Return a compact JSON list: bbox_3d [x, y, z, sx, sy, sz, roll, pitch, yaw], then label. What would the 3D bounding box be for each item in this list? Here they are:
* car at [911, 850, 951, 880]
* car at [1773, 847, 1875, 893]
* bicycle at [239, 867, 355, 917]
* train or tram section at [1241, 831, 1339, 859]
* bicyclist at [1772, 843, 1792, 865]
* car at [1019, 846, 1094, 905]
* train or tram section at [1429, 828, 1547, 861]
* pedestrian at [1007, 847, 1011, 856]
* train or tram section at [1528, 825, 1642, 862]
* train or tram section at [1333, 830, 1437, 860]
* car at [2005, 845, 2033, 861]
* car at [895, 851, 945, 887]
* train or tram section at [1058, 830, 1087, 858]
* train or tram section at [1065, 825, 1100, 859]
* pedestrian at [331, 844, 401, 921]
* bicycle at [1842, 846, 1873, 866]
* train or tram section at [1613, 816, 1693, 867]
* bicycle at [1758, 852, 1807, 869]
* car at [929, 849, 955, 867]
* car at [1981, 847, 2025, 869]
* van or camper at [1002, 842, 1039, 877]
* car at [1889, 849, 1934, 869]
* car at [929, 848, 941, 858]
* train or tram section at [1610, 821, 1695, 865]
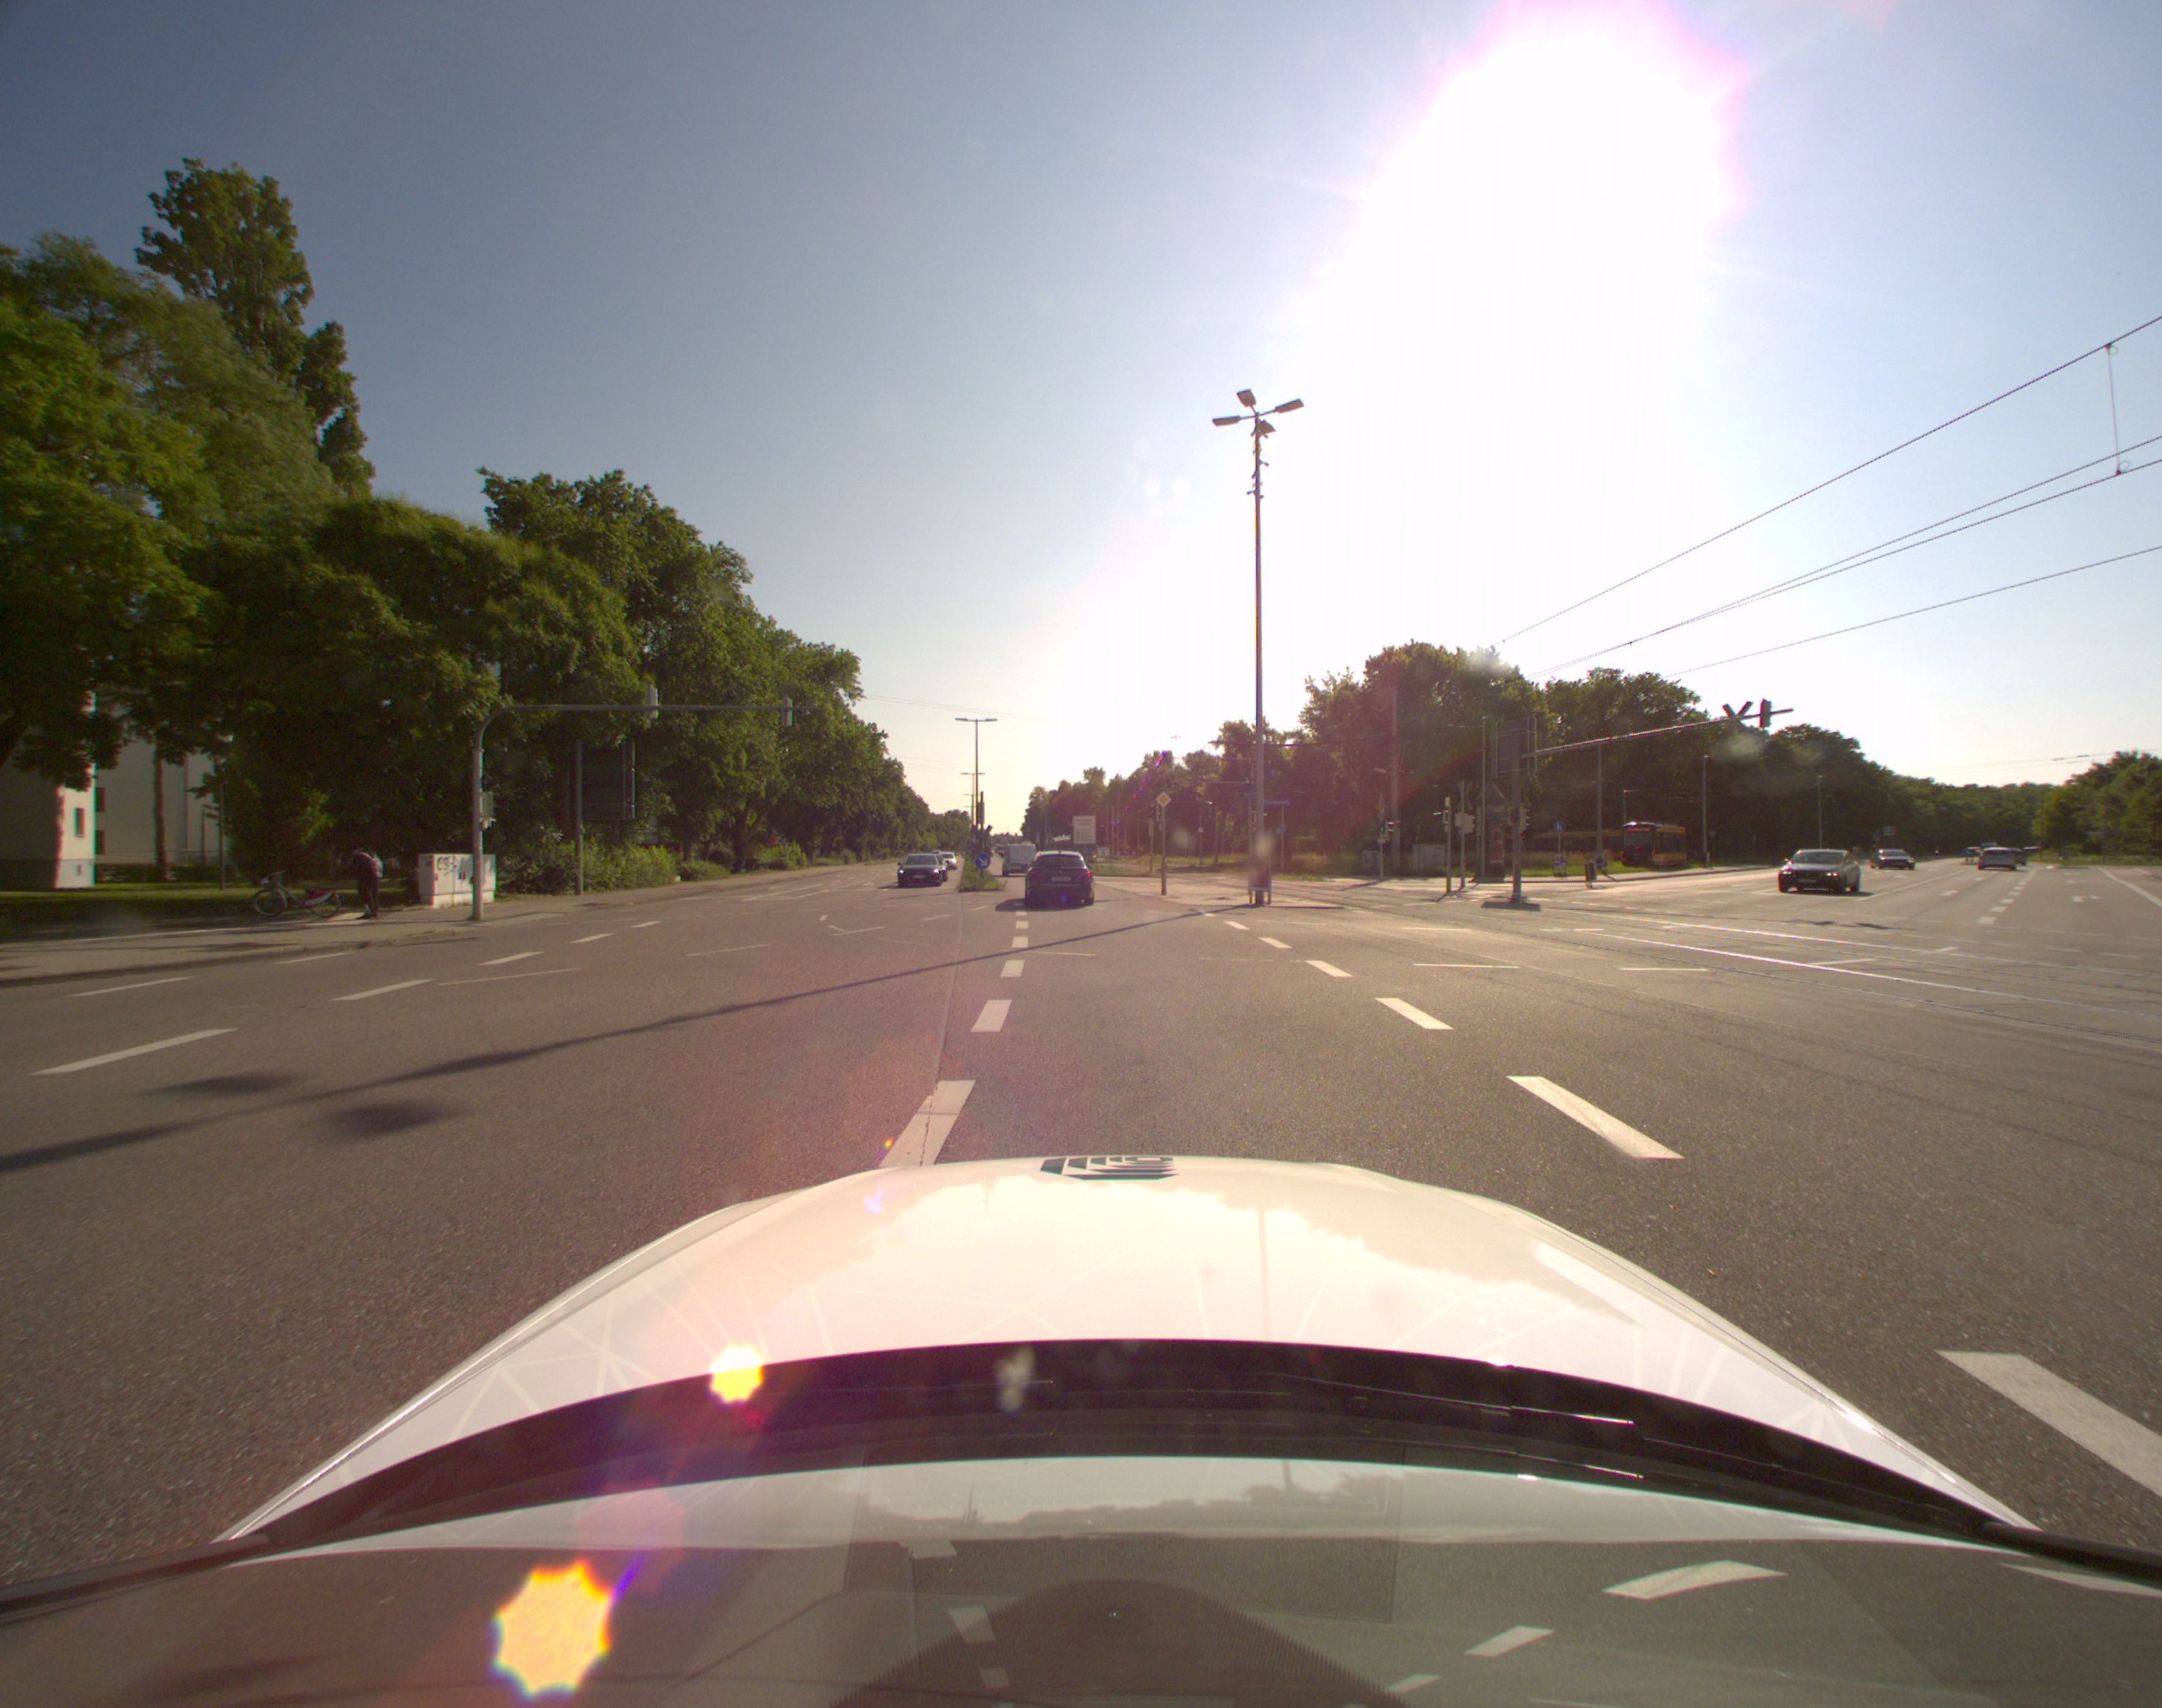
[{"bbox_3d":[-7.713,0.538,42.192,1.828,1.435,4.368,-1,1,-9],"label":"car"},{"bbox_3d":[28.261,0.537,30.940,4.885,1.562,2.022,-1,1,-37],"label":"car"},{"bbox_3d":[-18.271,0.866,19.012,1.909,1.119,0.630,0,0,-10],"label":"bicycle"},{"bbox_3d":[27.628,-1.124,108.008,12.292,3.579,3.070,0,0,21],"label":"train or tram section"},{"bbox_3d":[63.192,-0.008,73.384,1.144,2.014,1.088,1,-1,-32],"label":"bicyclist"},{"bbox_3d":[-0.732,0.543,22.867,1.899,1.505,4.060,0,0,-3],"label":"car"},{"bbox_3d":[47.460,-1.089,95.412,3.071,3.579,12.082,0,0,-43],"label":"train or tram section"},{"bbox_3d":[-16.295,-0.494,184.189,0.698,2.013,0.700,0,0,-9],"label":"pedestrian"},{"bbox_3d":[51.972,-1.092,84.620,3.042,3.579,12.196,0,0,-8],"label":"train or tram section"},{"bbox_3d":[38.423,-1.110,103.151,12.077,3.579,3.072,0,0,26],"label":"train or tram section"},{"bbox_3d":[86.939,-0.100,75.446,3.547,1.383,1.588,-1,0,-39],"label":"car"},{"bbox_3d":[-7.038,0.599,36.001,1.828,1.431,4.719,-1,0,-8],"label":"car"},{"bbox_3d":[-1.209,-1.232,107.584,2.747,3.554,11.232,1,0,-6],"label":"train or tram section"},{"bbox_3d":[0.033,-1.274,95.572,2.793,3.618,12.927,1,0,-6],"label":"train or tram section"},{"bbox_3d":[-16.617,0.643,18.949,0.814,1.752,0.930,0,0,-4],"label":"pedestrian"},{"bbox_3d":[69.820,0.163,73.232,0.787,1.713,2.621,0,0,12],"label":"bicycle"},{"bbox_3d":[43.921,-0.905,62.302,11.920,3.579,3.016,-1,0,-45],"label":"train or tram section"},{"bbox_3d":[63.195,0.578,73.388,1.135,1.454,3.197,1,-1,-32],"label":"bicycle"},{"bbox_3d":[-11.727,0.337,68.984,1.846,1.477,4.635,0,0,-7],"label":"car"},{"bbox_3d":[66.851,0.285,59.039,4.223,1.562,1.835,0,0,-37],"label":"car"},{"bbox_3d":[-3.883,0.321,51.605,1.992,2.096,4.586,0,0,-8],"label":"van or camper"},{"bbox_3d":[59.541,0.342,58.360,4.327,1.335,1.730,0,0,-37],"label":"car"},{"bbox_3d":[-24.569,-0.184,136.953,1.787,1.772,4.558,0,0,-7],"label":"car"},{"bbox_3d":[50.687,-0.957,72.704,3.019,3.579,12.292,0,0,20],"label":"train or tram section"}]
